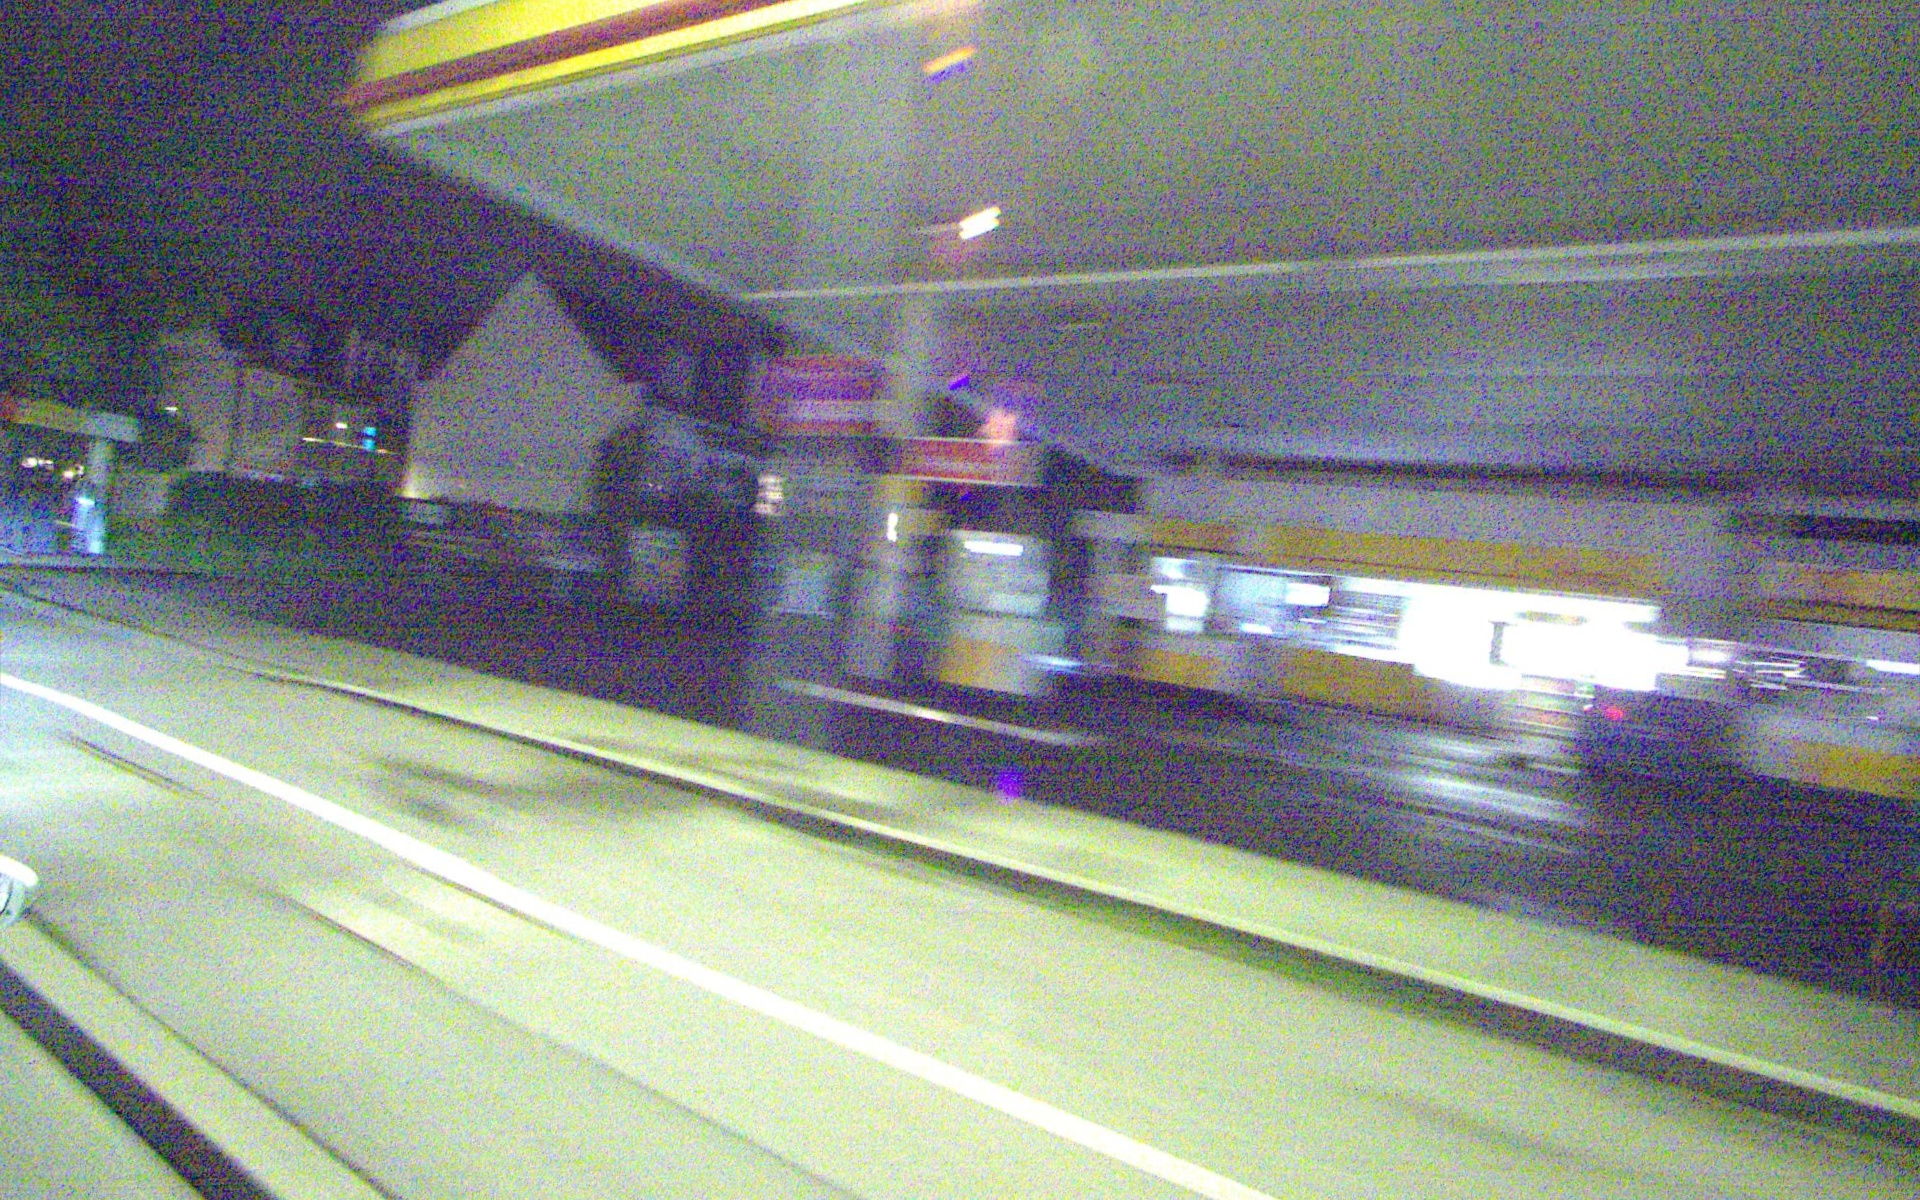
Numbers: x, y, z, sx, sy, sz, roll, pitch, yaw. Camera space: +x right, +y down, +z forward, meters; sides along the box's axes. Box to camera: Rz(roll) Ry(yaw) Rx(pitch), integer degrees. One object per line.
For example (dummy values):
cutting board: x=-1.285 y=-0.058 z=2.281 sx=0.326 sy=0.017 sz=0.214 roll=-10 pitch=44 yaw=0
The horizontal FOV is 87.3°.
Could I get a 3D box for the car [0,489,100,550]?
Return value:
car: x=-25.816 y=-2.304 z=26.988 sx=1.829 sy=1.371 sz=3.766 roll=7 pitch=0 yaw=34
